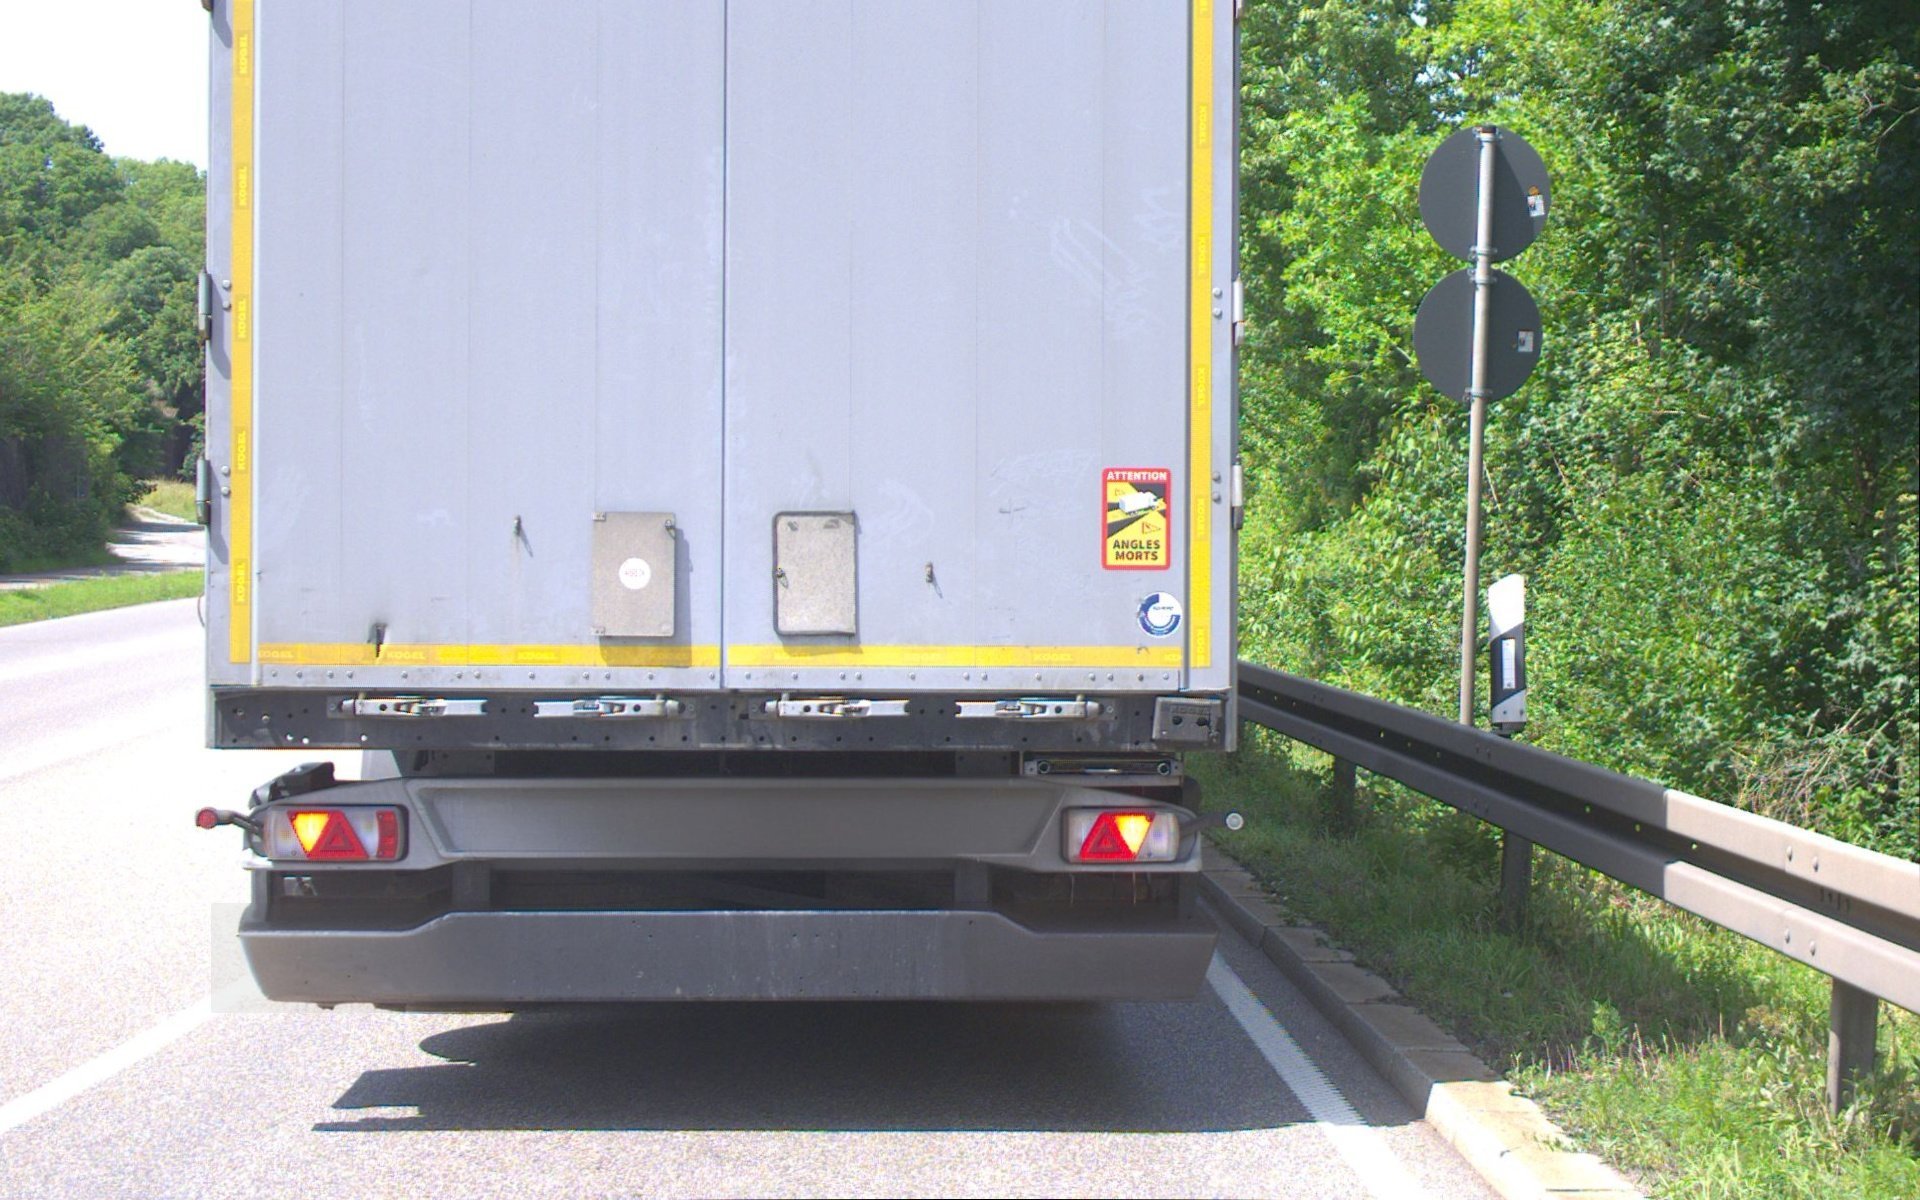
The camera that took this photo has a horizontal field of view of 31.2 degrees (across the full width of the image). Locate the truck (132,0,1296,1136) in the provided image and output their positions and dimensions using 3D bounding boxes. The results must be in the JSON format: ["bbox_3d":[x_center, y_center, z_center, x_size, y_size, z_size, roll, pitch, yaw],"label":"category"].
[{"bbox_3d":[-0.726,-0.854,14.153,2.757,4.016,11.925,0,1,-1],"label":"truck"}]
